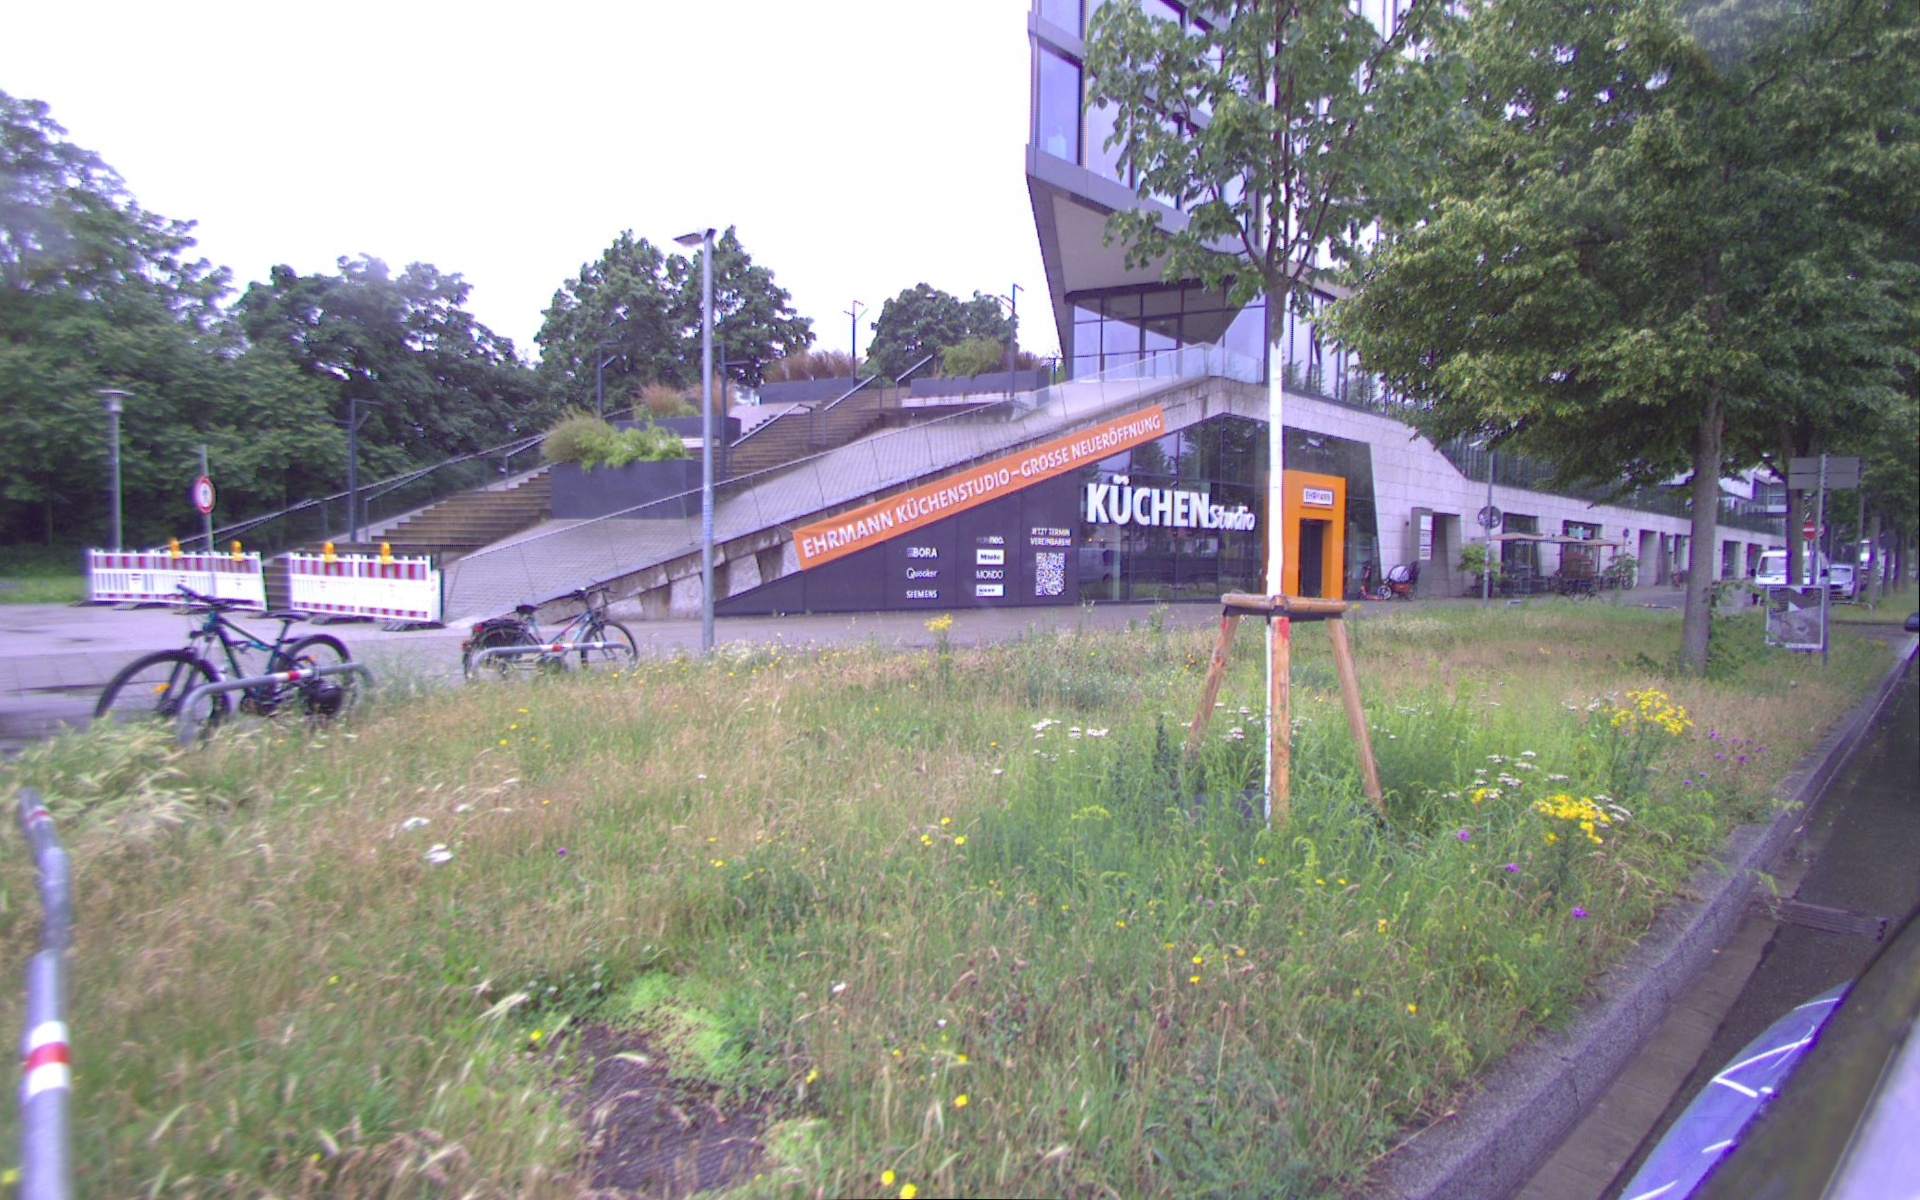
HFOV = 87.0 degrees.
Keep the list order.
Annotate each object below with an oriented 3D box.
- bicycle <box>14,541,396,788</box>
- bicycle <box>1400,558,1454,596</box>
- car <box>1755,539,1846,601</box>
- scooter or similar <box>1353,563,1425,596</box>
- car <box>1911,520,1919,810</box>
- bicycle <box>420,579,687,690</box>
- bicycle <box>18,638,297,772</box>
[{"bbox_3d":[-4.396,0.274,6.217,0.542,1.204,2.527,1,2,-2],"label":"bicycle"},{"bbox_3d":[17.223,-0.864,37.258,2.652,1.364,0.881,-2,1,-44],"label":"bicycle"},{"bbox_3d":[32.124,-1.143,38.613,5.013,2.229,2.081,-2,1,-44],"label":"car"},{"bbox_3d":[14.971,-0.728,35.292,2.561,1.113,0.814,-1,1,-26],"label":"scooter or similar"},{"bbox_3d":[8.031,0.400,6.974,4.309,1.769,1.913,0,0,-43],"label":"car"},{"bbox_3d":[-3.525,0.252,8.960,0.634,0.857,2.130,2,2,44],"label":"bicycle"},{"bbox_3d":[-4.746,0.578,6.143,0.315,0.565,1.804,1,2,-2],"label":"bicycle"}]
